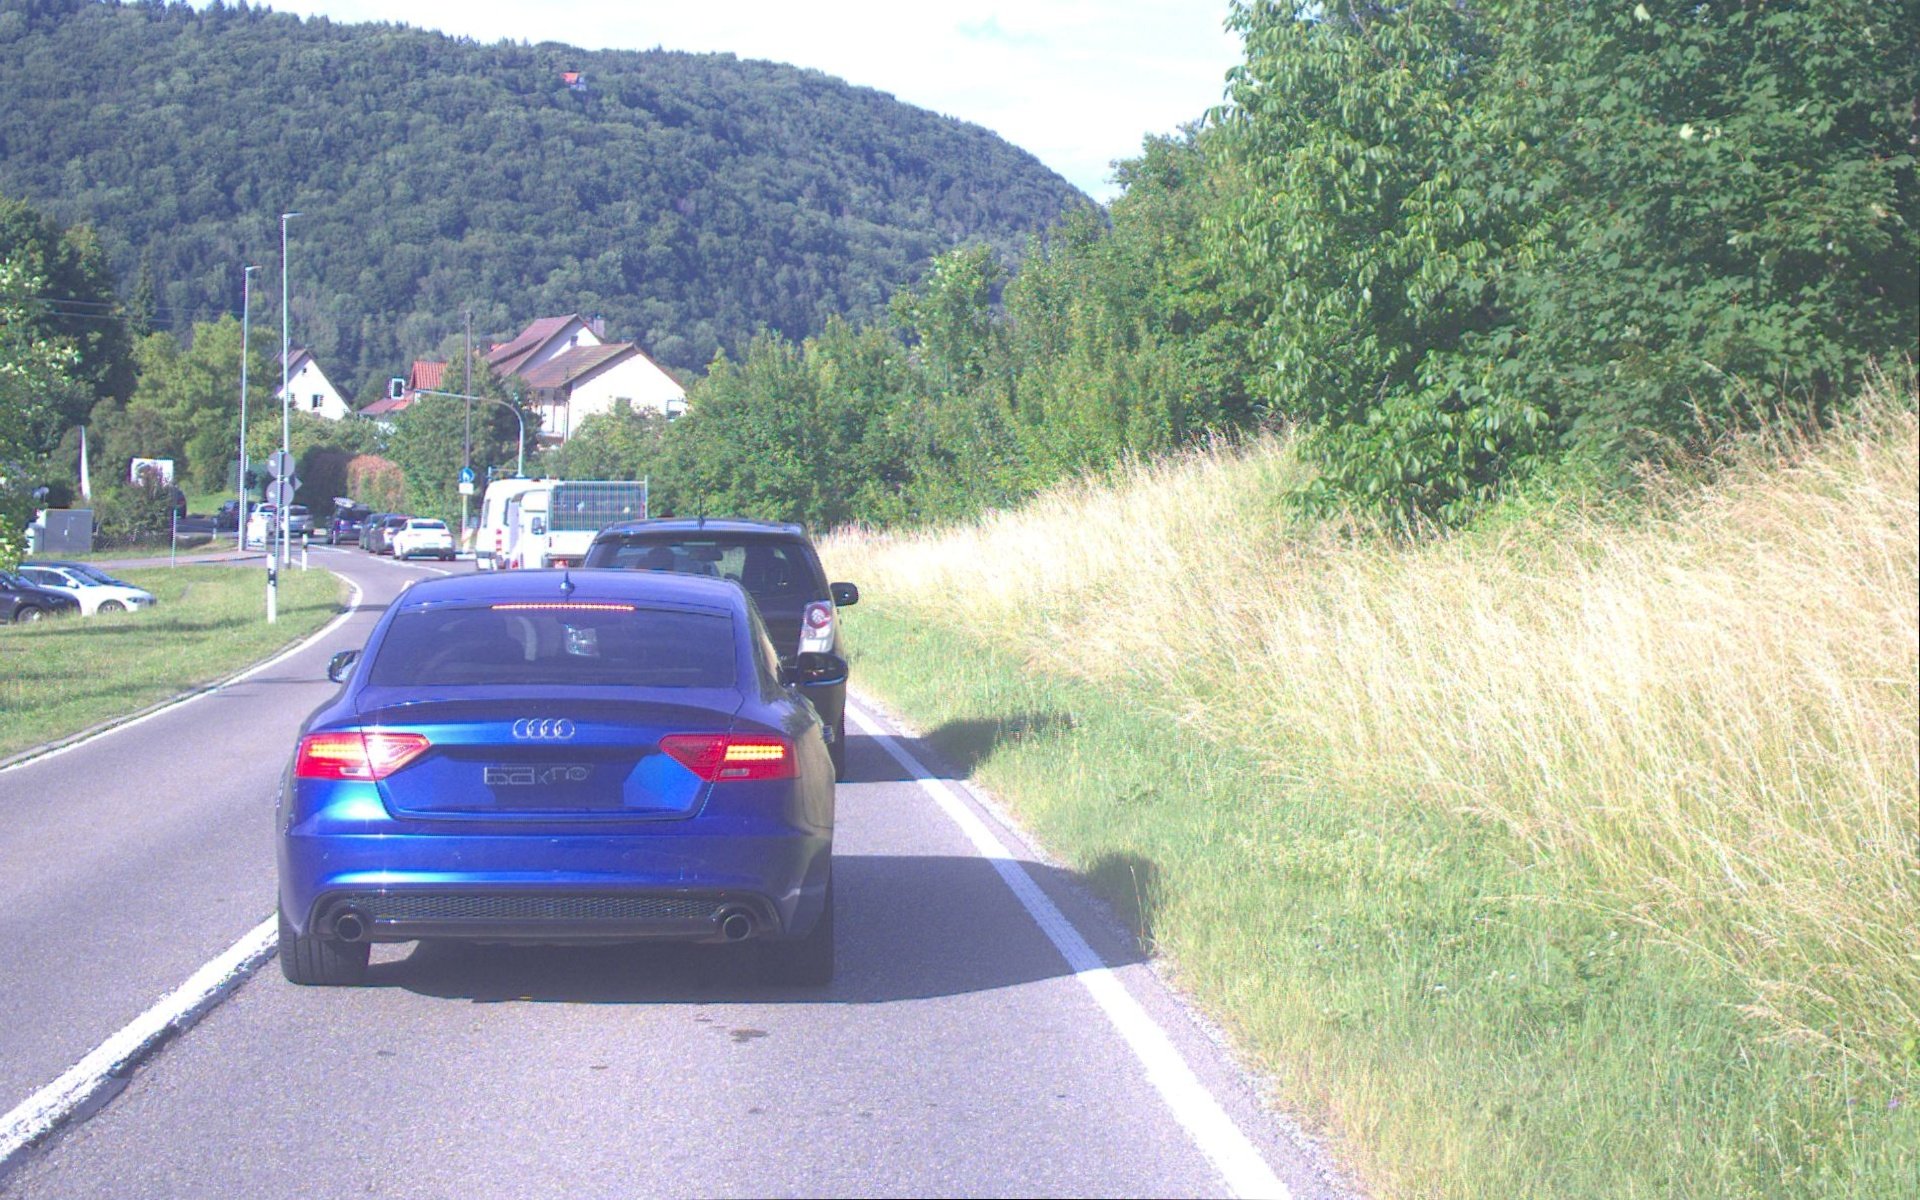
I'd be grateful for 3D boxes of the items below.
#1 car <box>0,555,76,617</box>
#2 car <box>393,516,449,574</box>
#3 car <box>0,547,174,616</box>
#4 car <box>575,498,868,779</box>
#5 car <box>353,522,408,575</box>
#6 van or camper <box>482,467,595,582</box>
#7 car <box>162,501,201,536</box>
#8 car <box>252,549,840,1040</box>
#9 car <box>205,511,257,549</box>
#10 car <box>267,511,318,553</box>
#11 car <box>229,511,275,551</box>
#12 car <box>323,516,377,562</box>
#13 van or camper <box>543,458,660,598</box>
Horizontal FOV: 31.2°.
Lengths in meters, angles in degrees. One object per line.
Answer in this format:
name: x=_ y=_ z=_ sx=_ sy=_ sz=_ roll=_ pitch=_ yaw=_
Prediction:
car: x=-23.114 y=-0.316 z=81.840 sx=3.713 sy=1.434 sz=1.509 roll=-1 pitch=1 yaw=5
car: x=-18.461 y=-1.882 z=117.669 sx=1.659 sy=1.918 sz=4.001 roll=-1 pitch=1 yaw=-12
car: x=-21.986 y=-0.461 z=86.303 sx=4.036 sy=1.655 sz=1.655 roll=-1 pitch=1 yaw=5
car: x=-1.597 y=0.197 z=22.033 sx=1.645 sy=1.619 sz=3.518 roll=1 pitch=1 yaw=-7
car: x=-21.386 y=-1.896 z=126.814 sx=1.659 sy=1.918 sz=4.001 roll=-1 pitch=1 yaw=-14
van or camper: x=-10.434 y=-1.841 z=84.716 sx=2.280 sy=2.704 sz=5.769 roll=-1 pitch=1 yaw=-12
car: x=-44.135 y=-4.597 z=194.955 sx=1.676 sy=1.918 sz=4.001 roll=-1 pitch=1 yaw=-19
car: x=-1.377 y=0.567 z=12.137 sx=1.742 sy=1.445 sz=3.517 roll=1 pitch=1 yaw=-4
car: x=-37.658 y=-3.611 z=177.525 sx=1.954 sy=1.918 sz=4.001 roll=-1 pitch=1 yaw=-22
car: x=-31.326 y=-3.183 z=161.209 sx=1.676 sy=1.918 sz=4.001 roll=-1 pitch=1 yaw=-20
car: x=-34.975 y=-3.399 z=169.665 sx=1.676 sy=1.918 sz=4.001 roll=-1 pitch=1 yaw=-19
car: x=-25.918 y=-2.589 z=145.896 sx=1.676 sy=1.918 sz=4.001 roll=-1 pitch=1 yaw=-18
van or camper: x=-6.781 y=-1.333 z=64.569 sx=2.051 sy=2.497 sz=5.813 roll=-1 pitch=1 yaw=-7
